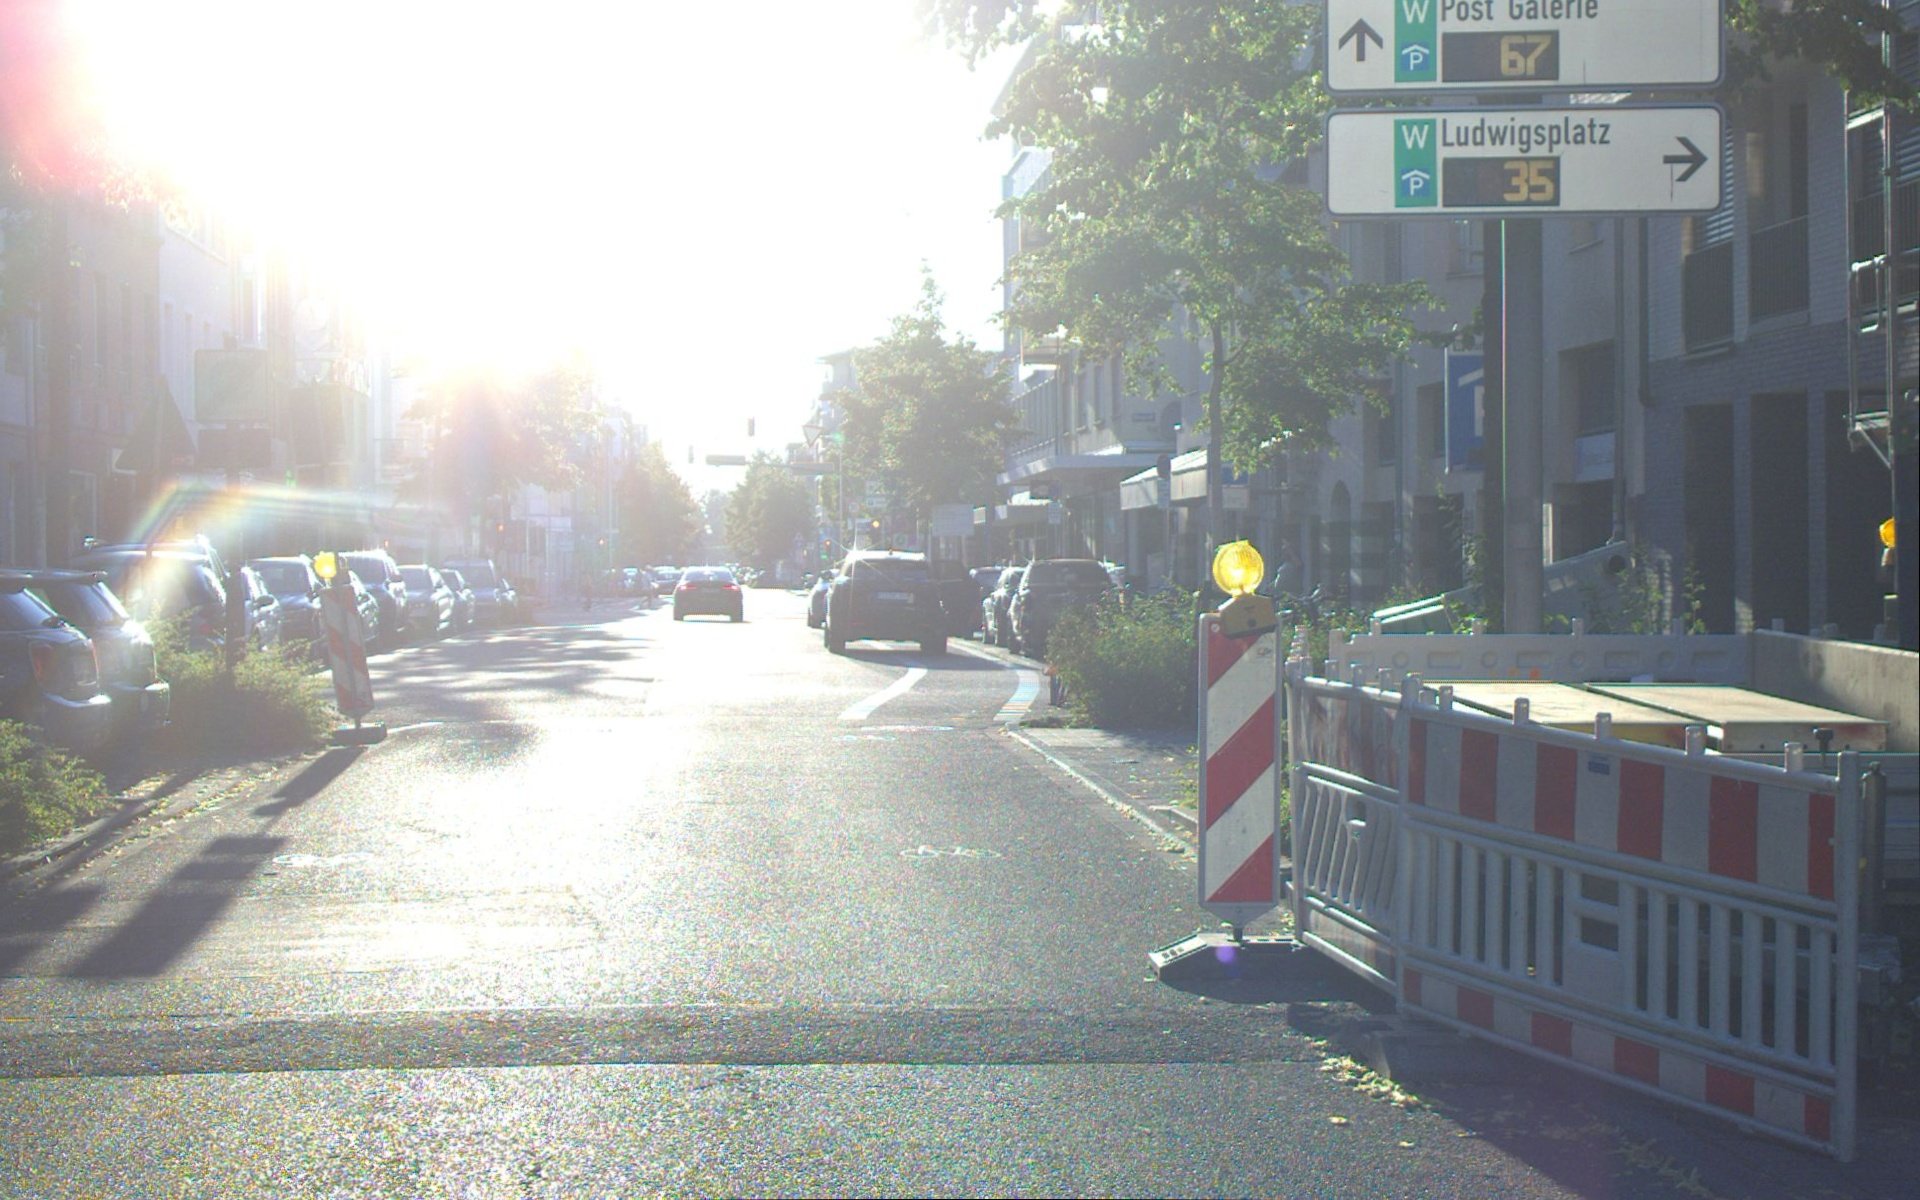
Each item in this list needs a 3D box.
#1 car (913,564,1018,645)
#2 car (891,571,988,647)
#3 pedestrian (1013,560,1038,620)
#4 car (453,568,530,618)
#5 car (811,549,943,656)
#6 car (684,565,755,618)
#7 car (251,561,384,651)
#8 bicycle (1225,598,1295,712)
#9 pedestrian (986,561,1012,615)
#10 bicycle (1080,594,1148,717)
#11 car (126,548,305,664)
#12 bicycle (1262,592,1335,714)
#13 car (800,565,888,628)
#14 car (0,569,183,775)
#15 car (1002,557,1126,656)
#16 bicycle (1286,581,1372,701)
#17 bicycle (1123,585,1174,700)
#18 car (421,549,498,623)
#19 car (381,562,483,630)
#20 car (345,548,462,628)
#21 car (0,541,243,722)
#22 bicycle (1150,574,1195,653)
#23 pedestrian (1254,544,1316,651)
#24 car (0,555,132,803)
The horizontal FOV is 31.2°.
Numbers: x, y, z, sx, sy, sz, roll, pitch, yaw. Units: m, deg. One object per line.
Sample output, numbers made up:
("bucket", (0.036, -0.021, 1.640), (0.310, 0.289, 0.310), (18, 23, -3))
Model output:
("car", (0.071, 0.057, 63.158), (1.633, 1.419, 3.758), (-1, 1, -4))
("car", (-0.446, 0.157, 70.028), (1.703, 1.431, 3.932), (-3, 1, -3))
("pedestrian", (1.892, -0.289, 99.251), (0.688, 1.716, 0.716), (-1, 0, 2))
("car", (-12.749, -0.214, 93.691), (1.832, 1.323, 4.124), (0, 1, -4))
("car", (-1.425, 0.012, 57.184), (1.995, 1.649, 4.674), (2, 0, -3))
("car", (-6.554, -0.254, 94.108), (1.883, 1.410, 4.325), (0, 0, -3))
("car", (-11.101, 0.076, 59.596), (1.713, 1.435, 4.310), (-2, 1, -4))
("bicycle", (2.972, 0.534, 34.108), (0.381, 1.096, 1.523), (0, 0, -7))
("pedestrian", (1.117, -0.351, 99.457), (0.688, 1.553, 0.863), (0, 0, -3))
("bicycle", (1.423, 0.503, 32.004), (0.381, 1.096, 1.523), (-1, 1, -7))
("car", (-10.101, 0.051, 46.887), (1.773, 1.510, 3.950), (0, 1, -3))
("bicycle", (3.368, 0.515, 34.310), (0.381, 1.185, 1.523), (1, 0, -7))
("car", (-2.785, -0.099, 81.717), (1.922, 1.410, 4.548), (2, 0, -3))
("car", (-7.343, 0.477, 24.187), (3.396, 1.387, 1.687), (0, 1, -1))
("car", (1.680, 0.092, 56.182), (1.632, 1.548, 2.695), (-1, 1, -6))
("bicycle", (3.509, 0.377, 32.777), (0.381, 1.096, 1.523), (-1, 1, -11))
("bicycle", (1.889, 0.414, 34.406), (0.371, 1.104, 1.523), (0, 1, 8))
("car", (-12.710, -0.360, 87.461), (1.832, 1.848, 4.125), (0, 0, -7))
("car", (-11.958, -0.101, 78.113), (1.827, 1.434, 4.554), (-3, 0, -4))
("car", (-11.634, -0.280, 72.153), (1.827, 1.551, 5.136), (-2, 1, -3))
("car", (-8.035, 0.278, 31.478), (2.693, 1.515, 1.572), (-2, 2, -7))
("bicycle", (3.422, 0.204, 55.348), (0.397, 1.230, 1.826), (-1, 1, -6))
("pedestrian", (5.066, -0.037, 53.594), (0.810, 1.641, 0.606), (-2, 0, -3))
("car", (-7.398, 0.464, 21.800), (3.892, 1.512, 1.857), (0, 1, -3))
